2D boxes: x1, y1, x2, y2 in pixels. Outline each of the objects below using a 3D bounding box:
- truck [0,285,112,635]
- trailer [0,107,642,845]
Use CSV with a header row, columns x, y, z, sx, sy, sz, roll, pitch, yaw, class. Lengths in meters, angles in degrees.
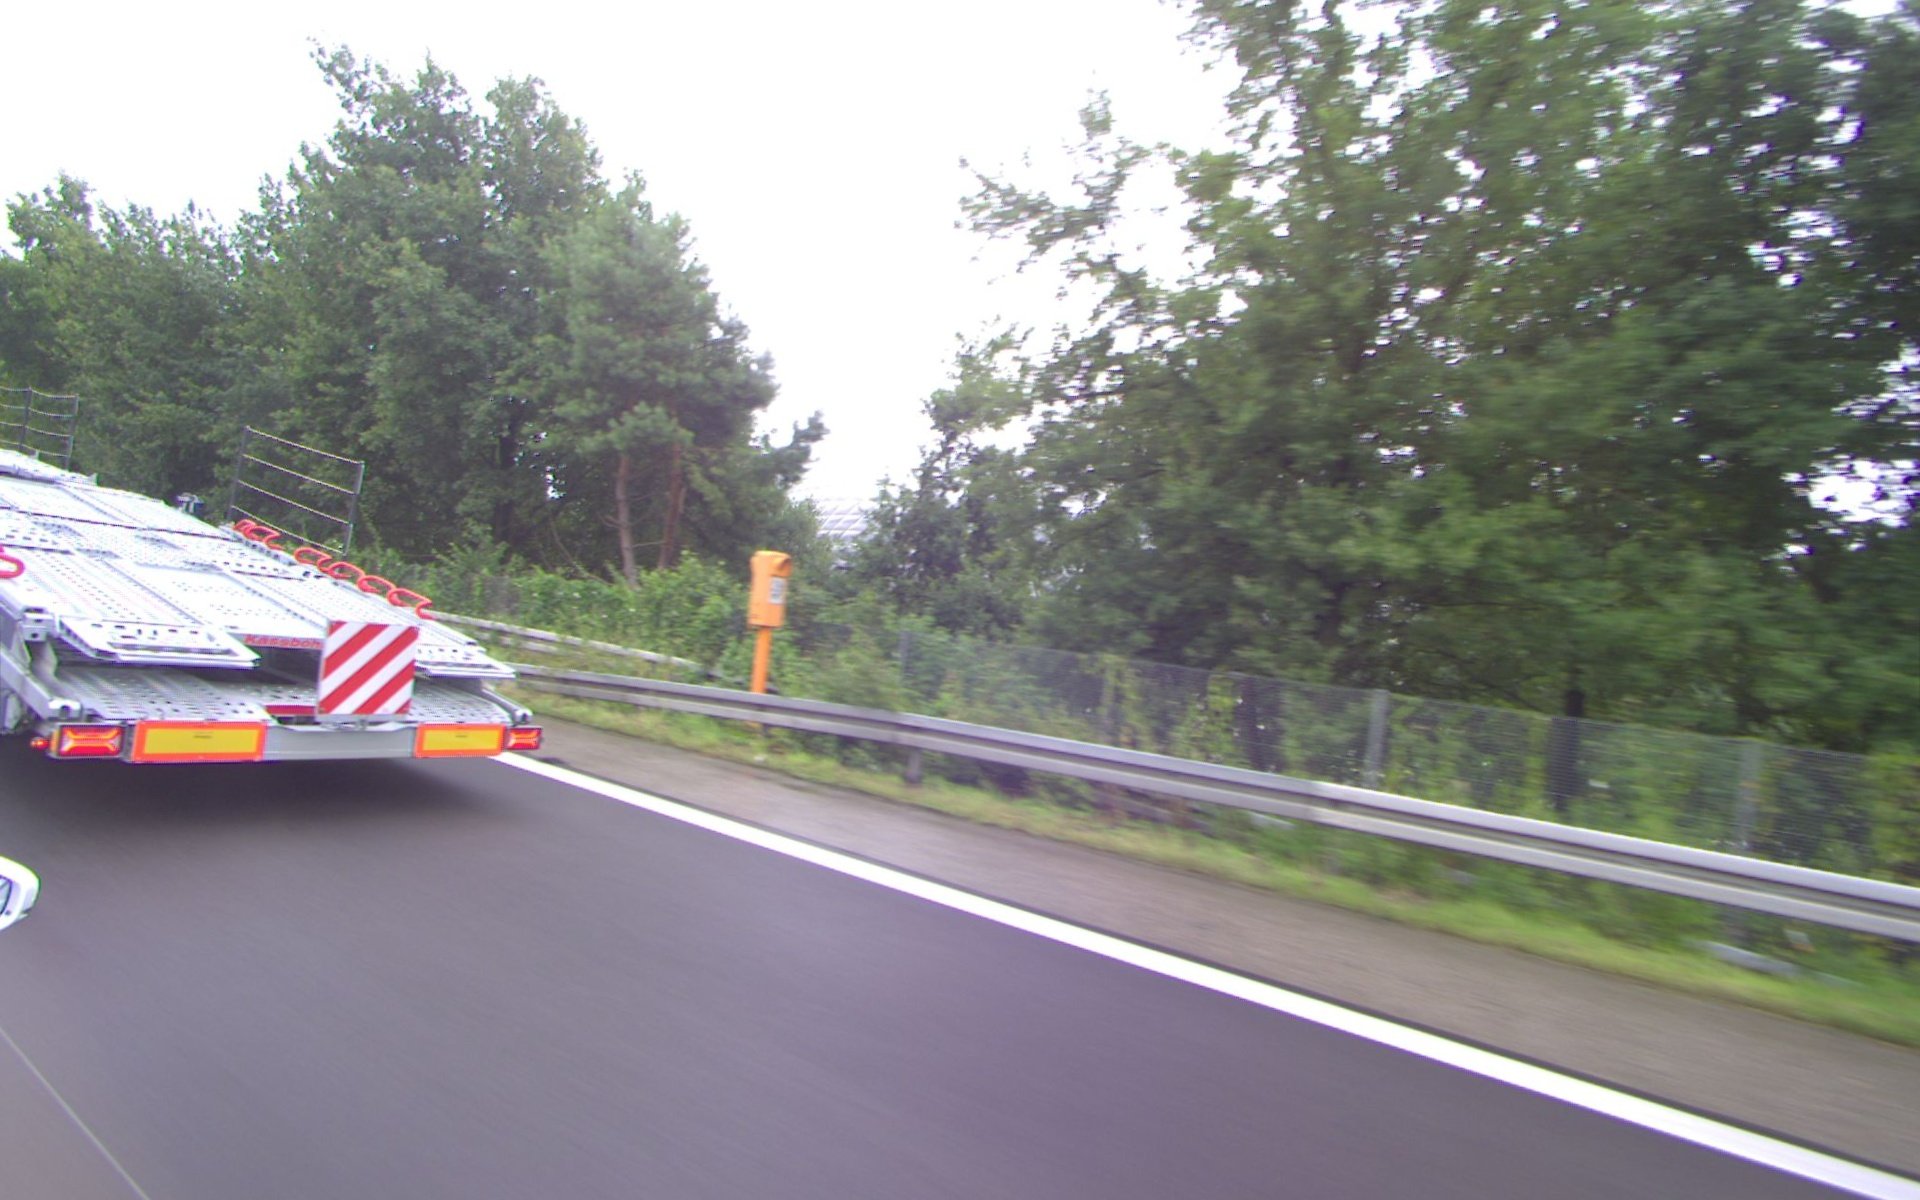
x,y,z,sx,sy,sz,roll,pitch,yaw,class
-15.260,-2.102,13.885,8.982,4.014,2.742,6,-1,34,truck
-7.349,-0.868,8.491,10.239,3.322,2.782,6,-2,34,trailer
